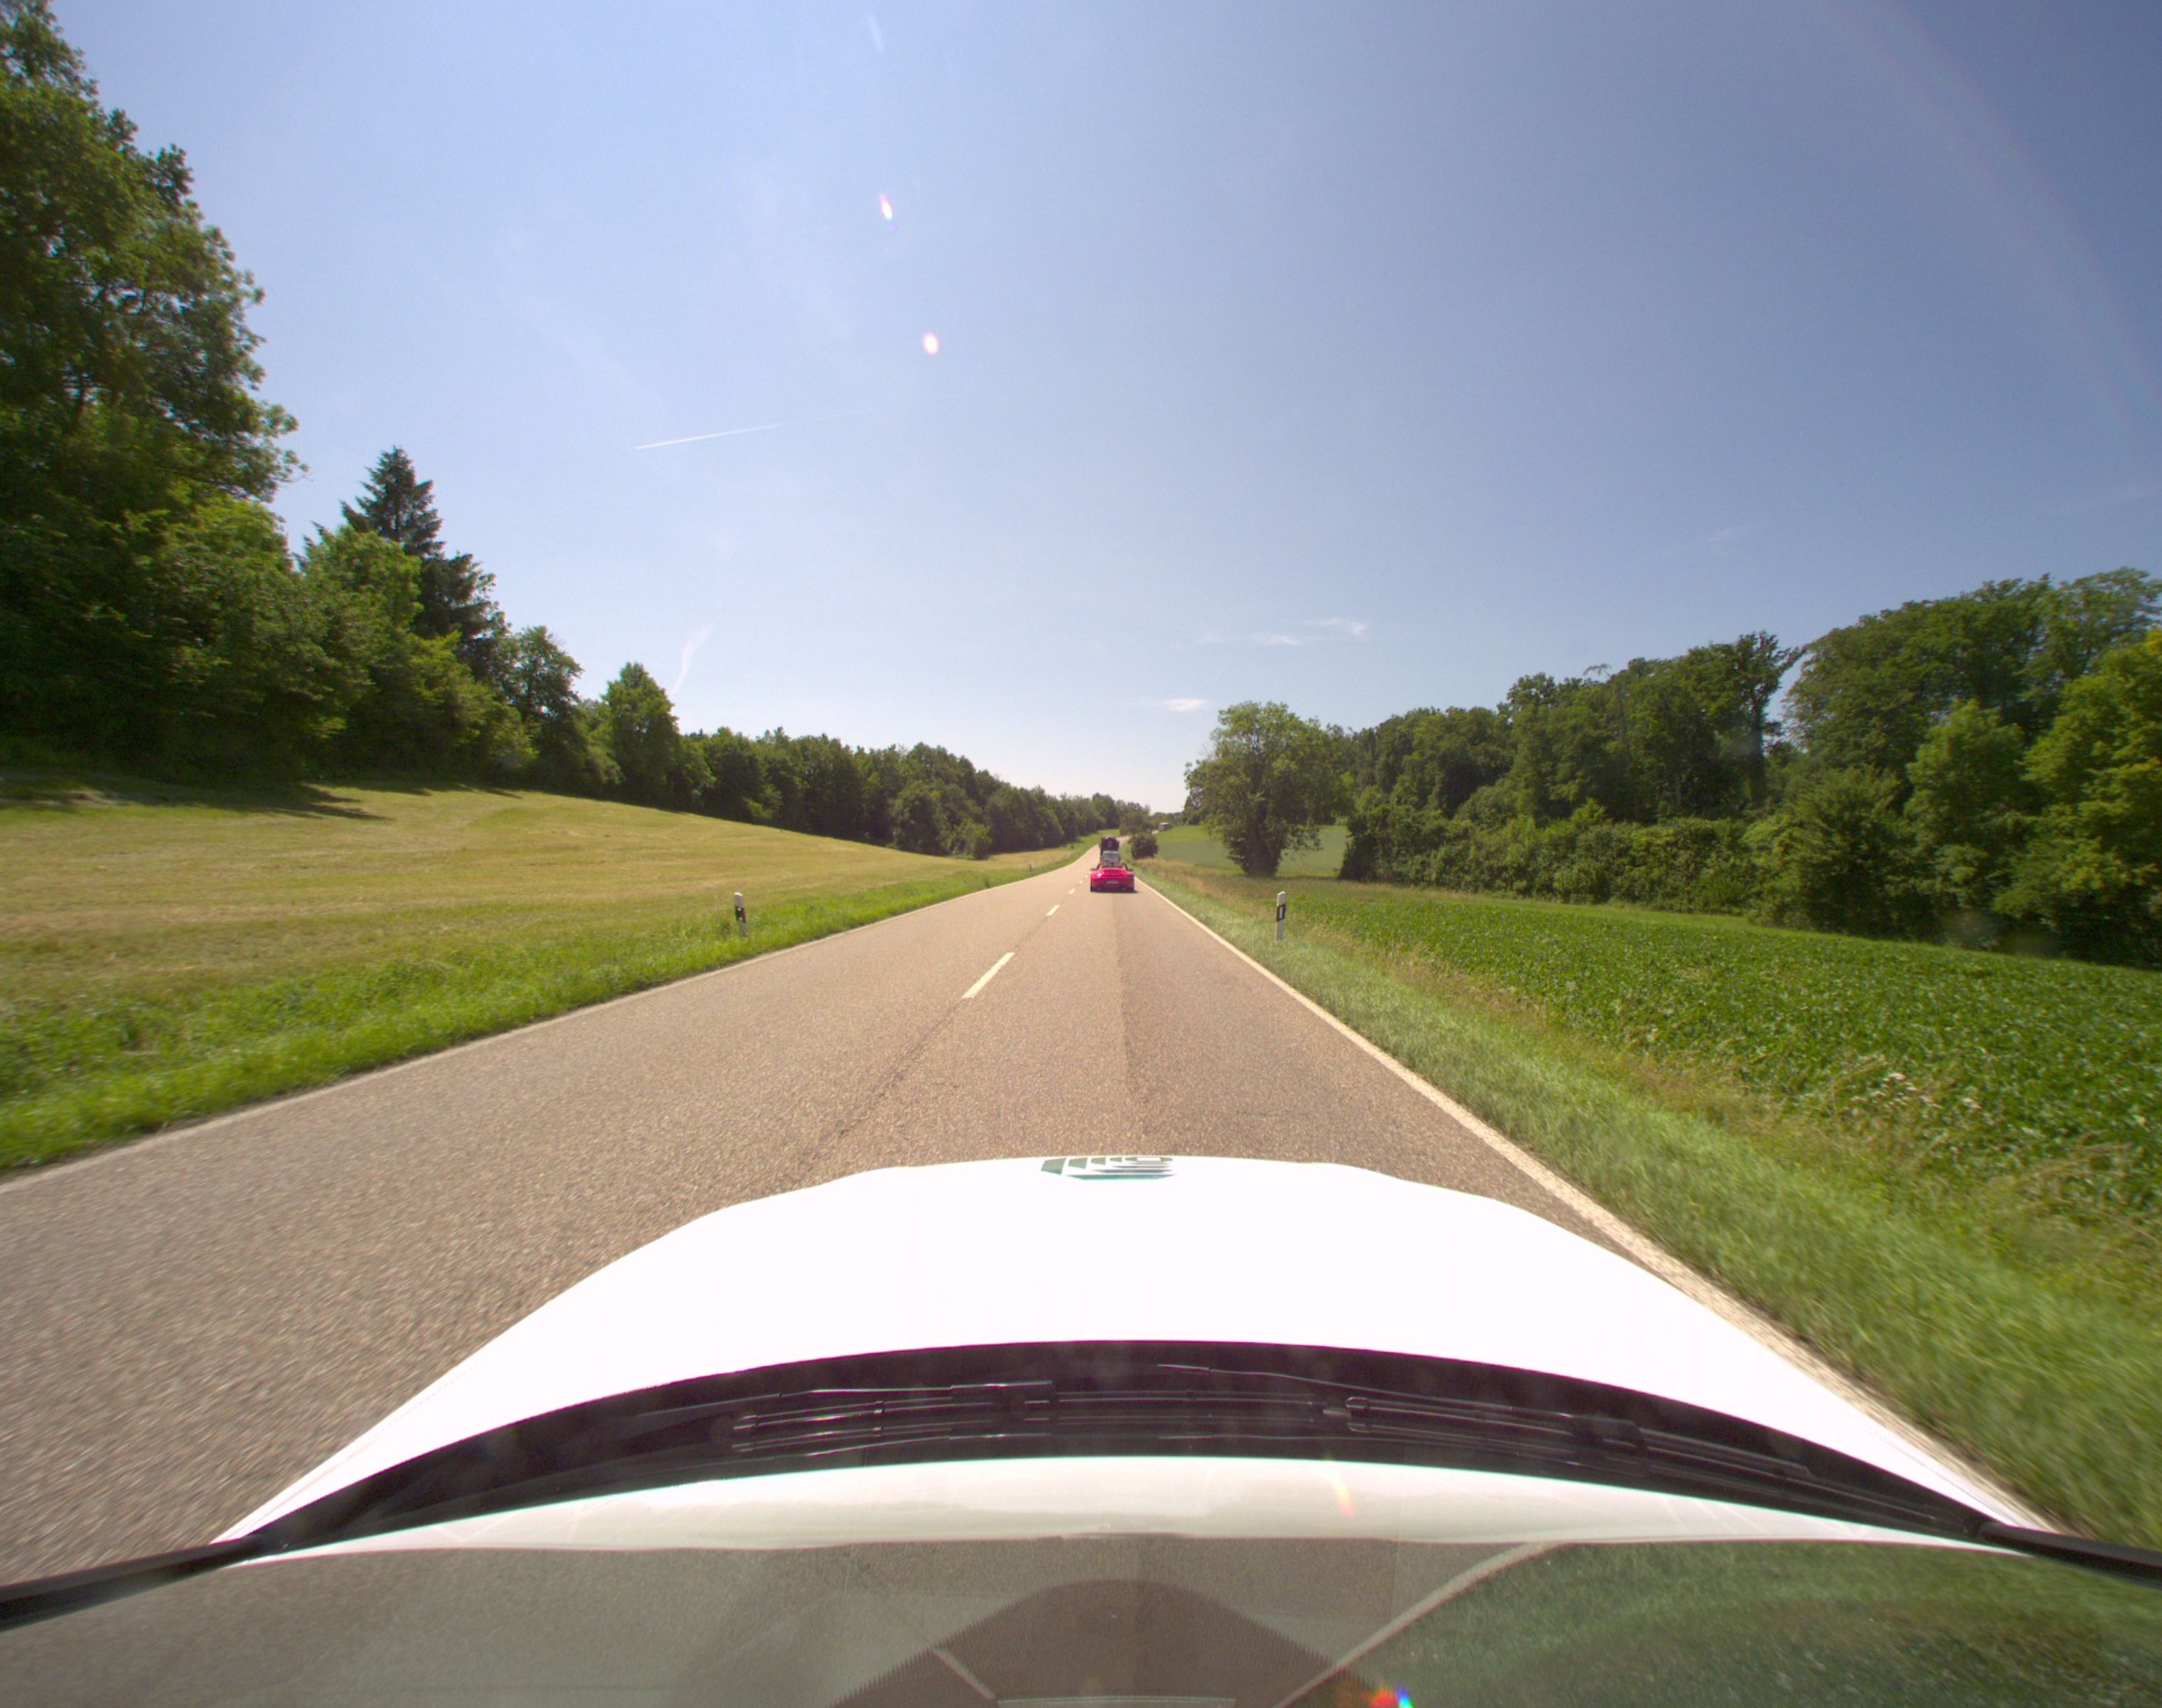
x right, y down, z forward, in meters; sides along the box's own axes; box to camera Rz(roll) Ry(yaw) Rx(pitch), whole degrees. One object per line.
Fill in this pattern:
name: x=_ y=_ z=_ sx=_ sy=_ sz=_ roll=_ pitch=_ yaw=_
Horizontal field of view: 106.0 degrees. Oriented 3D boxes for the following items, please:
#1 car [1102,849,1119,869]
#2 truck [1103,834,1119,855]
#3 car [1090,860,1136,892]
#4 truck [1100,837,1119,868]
car: x=2.960 y=0.521 z=81.410 sx=1.672 sy=1.900 sz=4.012 roll=-2 pitch=0 yaw=3
truck: x=7.354 y=-2.444 z=202.233 sx=3.711 sy=4.659 sz=12.037 roll=-1 pitch=2 yaw=2
car: x=1.369 y=0.924 z=35.400 sx=1.875 sy=1.255 sz=4.011 roll=0 pitch=0 yaw=2
truck: x=4.062 y=-0.305 z=117.373 sx=2.395 sy=4.049 sz=12.554 roll=-1 pitch=2 yaw=1
